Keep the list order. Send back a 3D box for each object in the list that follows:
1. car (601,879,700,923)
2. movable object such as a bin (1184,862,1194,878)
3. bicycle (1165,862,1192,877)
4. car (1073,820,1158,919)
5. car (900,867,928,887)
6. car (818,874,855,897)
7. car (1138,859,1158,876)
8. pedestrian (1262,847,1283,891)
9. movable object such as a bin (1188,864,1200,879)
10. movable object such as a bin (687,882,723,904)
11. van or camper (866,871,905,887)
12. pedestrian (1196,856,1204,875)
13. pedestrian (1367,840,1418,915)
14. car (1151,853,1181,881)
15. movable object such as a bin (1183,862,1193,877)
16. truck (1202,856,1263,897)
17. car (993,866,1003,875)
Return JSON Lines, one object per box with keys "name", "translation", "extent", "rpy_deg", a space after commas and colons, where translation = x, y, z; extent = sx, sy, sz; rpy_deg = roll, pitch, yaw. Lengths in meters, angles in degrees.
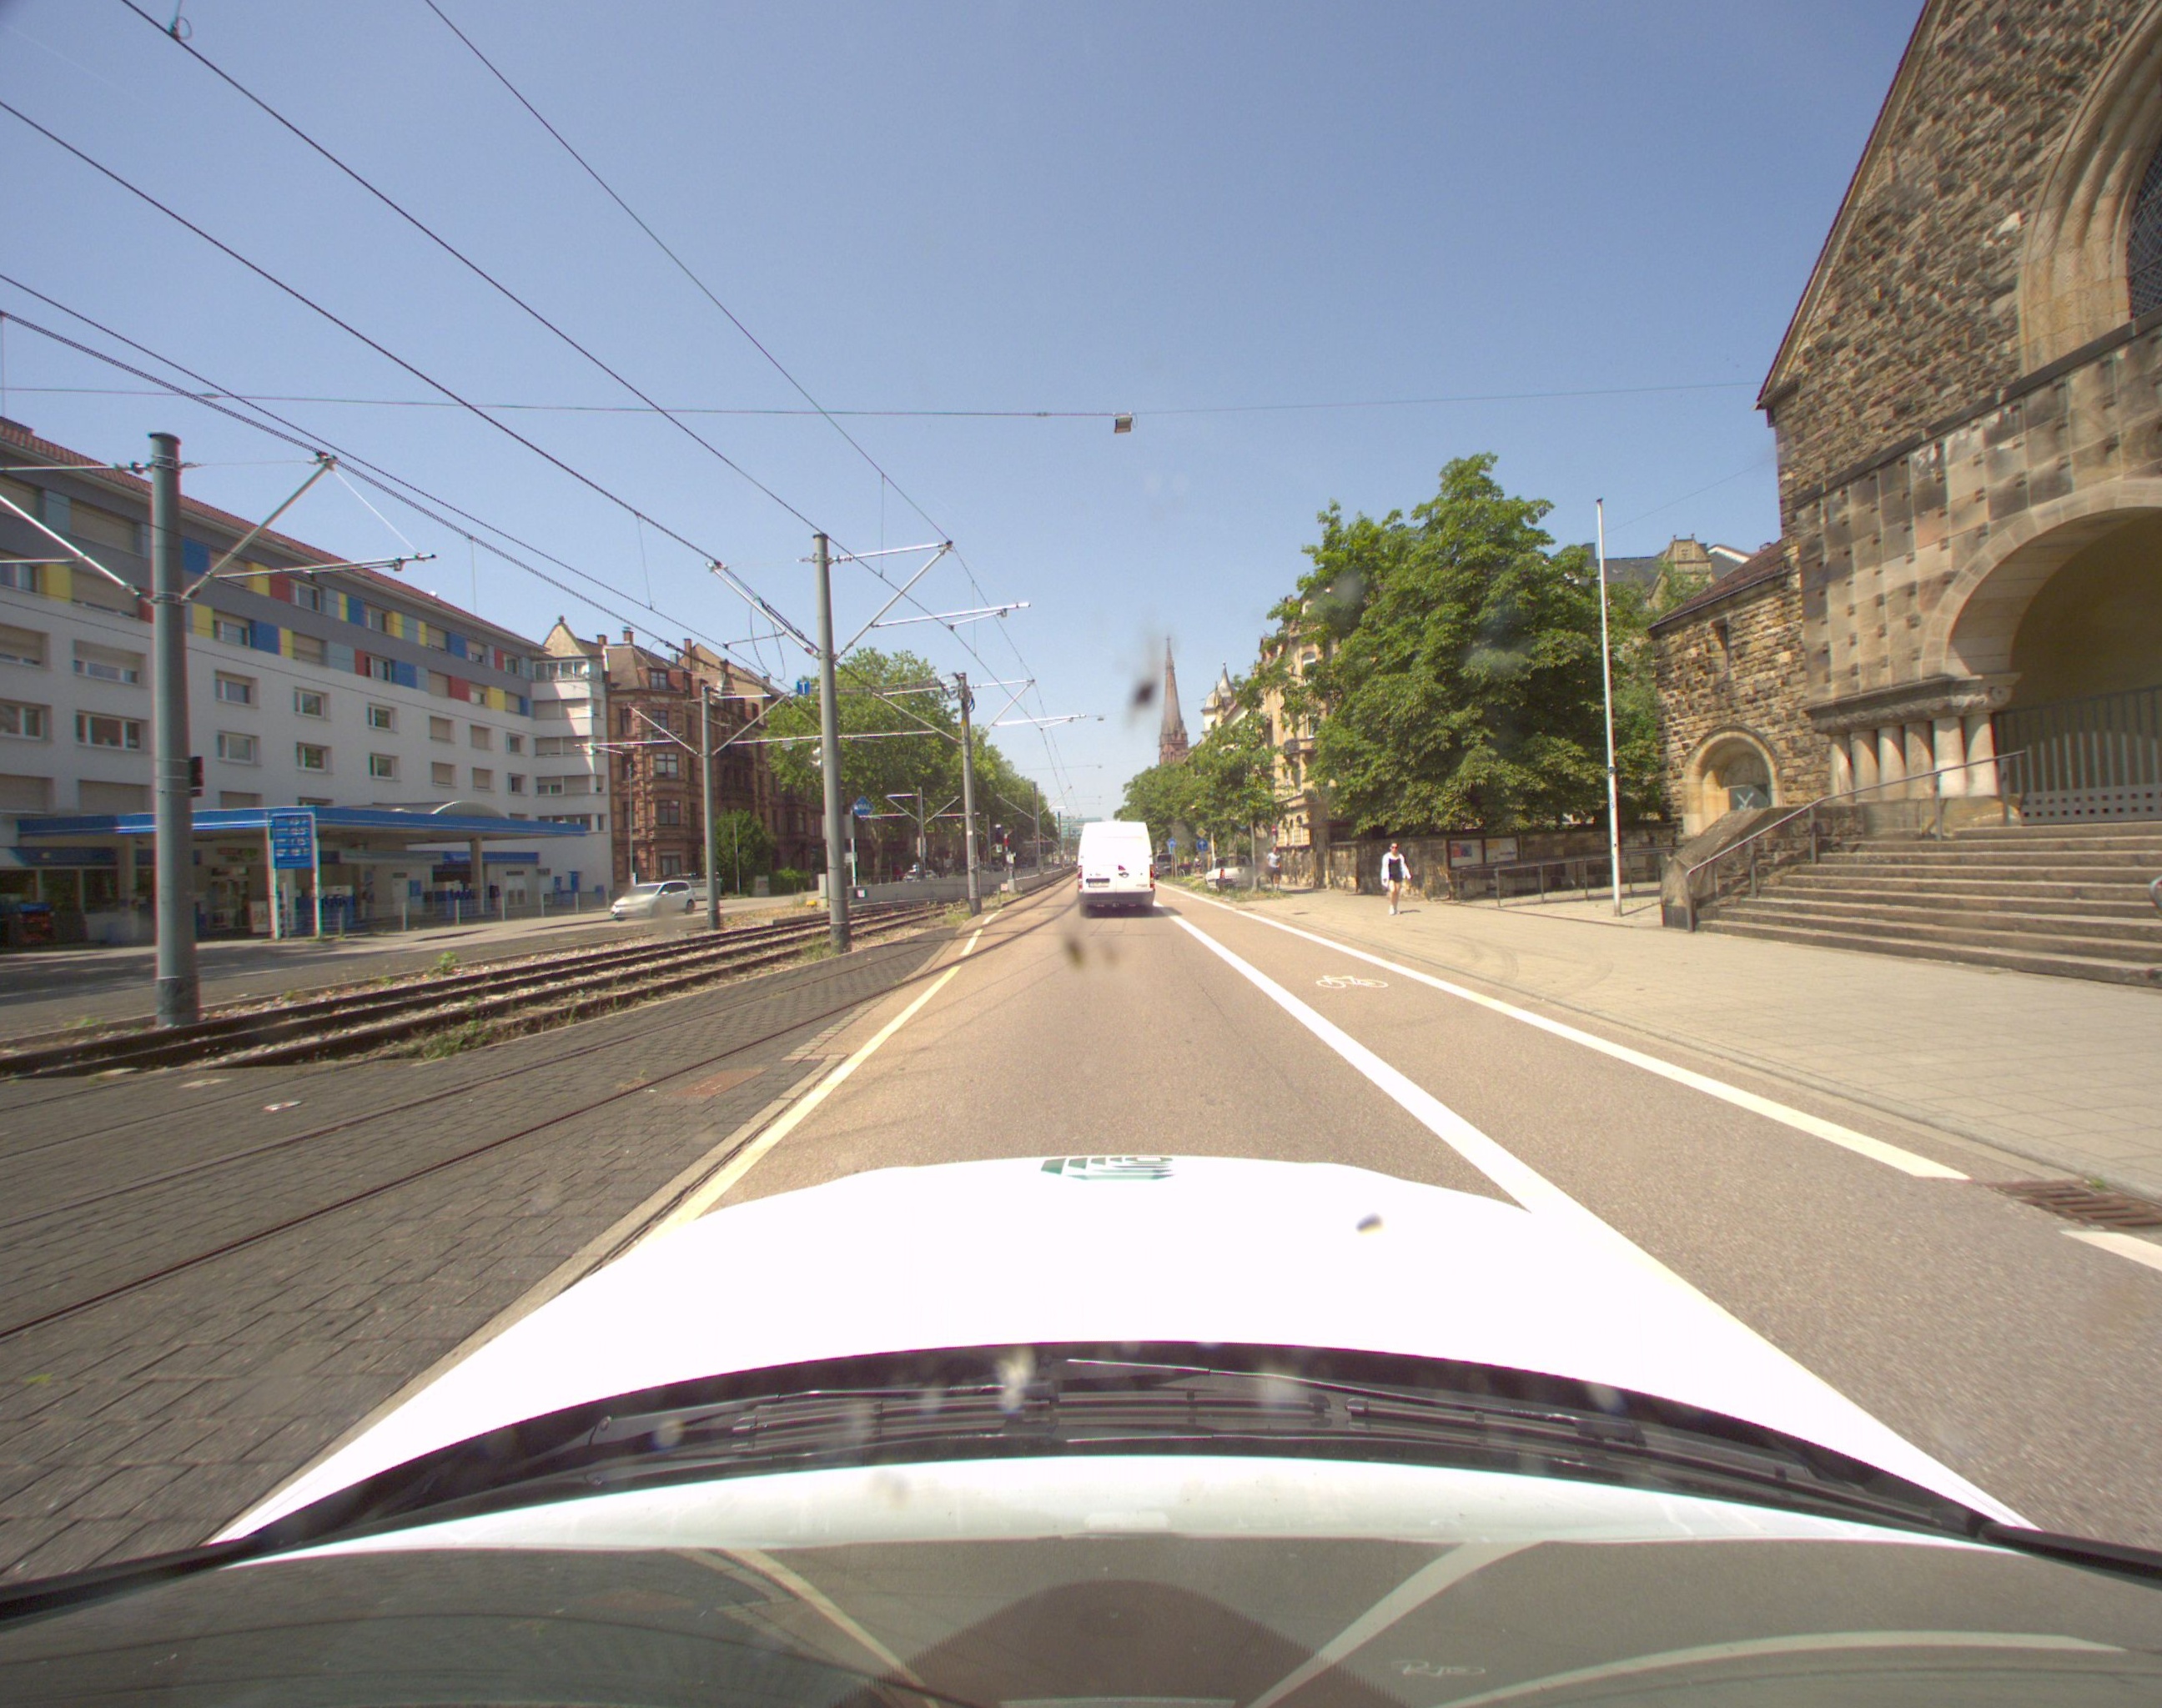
{"name": "car", "translation": [-19.602, 2.099, 37.353], "extent": [1.840, 1.625, 4.604], "rpy_deg": [-4, -1, 2]}
{"name": "movable object such as a bin", "translation": [7.761, 1.154, 58.755], "extent": [0.666, 1.062, 0.497], "rpy_deg": [-3, -1, 7]}
{"name": "bicycle", "translation": [7.277, 1.165, 60.931], "extent": [1.880, 0.991, 0.469], "rpy_deg": [-3, -1, -9]}
{"name": "car", "translation": [0.903, 0.412, 23.471], "extent": [2.110, 2.459, 5.054], "rpy_deg": [-2, -1, 0]}
{"name": "car", "translation": [-17.246, 2.343, 84.277], "extent": [1.988, 1.904, 4.715], "rpy_deg": [-2, -1, -1]}
{"name": "car", "translation": [-19.141, 2.452, 63.902], "extent": [1.648, 1.684, 3.707], "rpy_deg": [-2, -1, 0]}
{"name": "car", "translation": [6.545, 1.252, 79.496], "extent": [1.661, 1.530, 4.014], "rpy_deg": [-3, 0, 1]}
{"name": "pedestrian", "translation": [7.790, 0.593, 33.151], "extent": [0.618, 1.755, 0.679], "rpy_deg": [-2, -1, 3]}
{"name": "movable object such as a bin", "translation": [8.045, 1.216, 58.041], "extent": [0.783, 1.014, 0.651], "rpy_deg": [-3, -1, 7]}
{"name": "movable object such as a bin", "translation": [-26.379, 2.704, 57.194], "extent": [1.777, 1.385, 1.469], "rpy_deg": [-3, -1, -1]}
{"name": "van or camper", "translation": [-25.474, 3.206, 106.319], "extent": [4.520, 1.836, 1.936], "rpy_deg": [-3, -1, 6]}
{"name": "pedestrian", "translation": [9.736, 0.937, 66.752], "extent": [0.549, 1.598, 0.728], "rpy_deg": [-2, -1, 3]}
{"name": "pedestrian", "translation": [7.197, 0.537, 18.875], "extent": [0.790, 1.650, 0.967], "rpy_deg": [-2, -1, 3]}
{"name": "car", "translation": [6.726, 1.005, 64.735], "extent": [1.872, 1.947, 4.837], "rpy_deg": [-4, 0, 1]}
{"name": "movable object such as a bin", "translation": [7.816, 1.157, 59.466], "extent": [0.742, 1.062, 0.497], "rpy_deg": [-2, -1, 7]}
{"name": "truck", "translation": [6.244, 0.880, 34.017], "extent": [1.783, 1.526, 4.467], "rpy_deg": [-2, 0, 2]}
{"name": "car", "translation": [-15.144, 3.002, 148.186], "extent": [1.368, 1.424, 3.089], "rpy_deg": [-3, -1, 2]}
